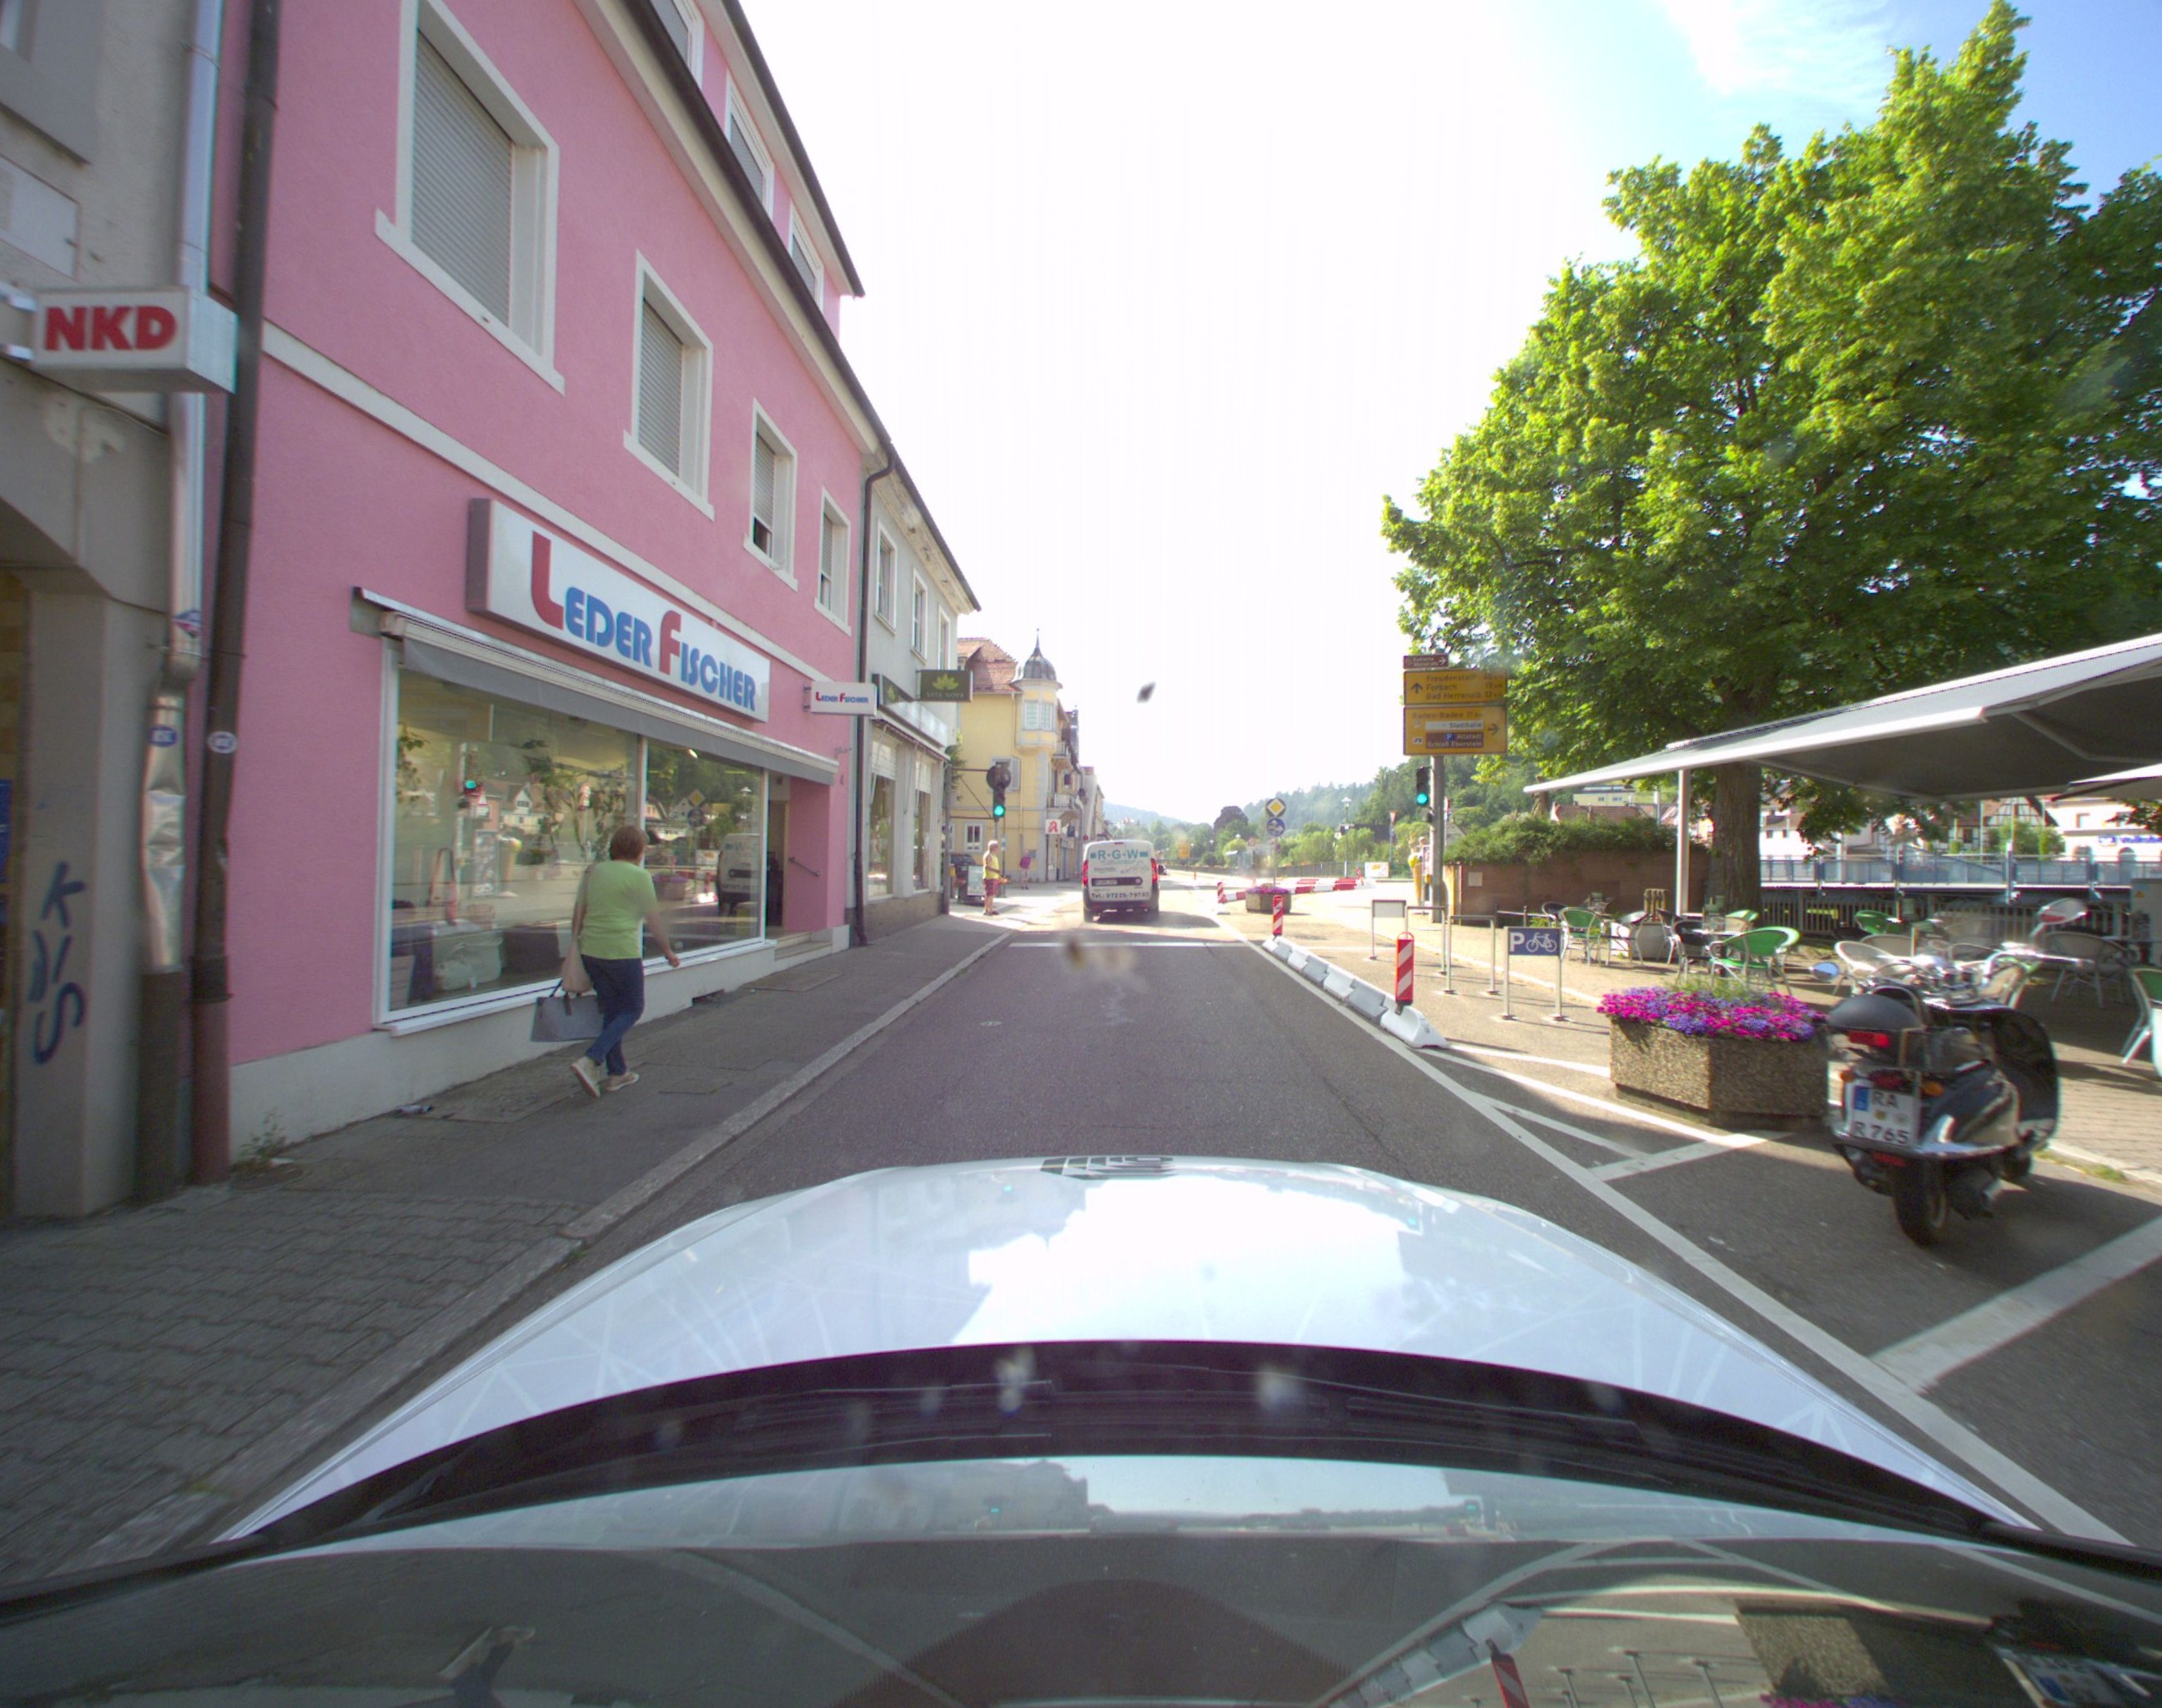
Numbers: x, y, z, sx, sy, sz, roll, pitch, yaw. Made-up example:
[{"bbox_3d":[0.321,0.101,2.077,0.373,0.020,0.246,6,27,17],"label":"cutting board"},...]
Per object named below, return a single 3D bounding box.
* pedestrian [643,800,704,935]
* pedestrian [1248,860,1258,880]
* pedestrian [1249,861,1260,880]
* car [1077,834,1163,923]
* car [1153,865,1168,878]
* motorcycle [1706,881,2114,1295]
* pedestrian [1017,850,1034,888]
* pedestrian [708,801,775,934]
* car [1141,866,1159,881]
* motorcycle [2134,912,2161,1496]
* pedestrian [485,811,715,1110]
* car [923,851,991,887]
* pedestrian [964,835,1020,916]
[{"bbox_3d":[-5.336,0.174,10.687,0.575,1.722,0.568,0,0,-12],"label":"pedestrian"},{"bbox_3d":[15.362,1.427,72.769,0.785,1.706,0.492,1,-1,5],"label":"pedestrian"},{"bbox_3d":[15.383,1.447,72.114,0.862,1.706,0.778,1,-1,5],"label":"pedestrian"},{"bbox_3d":[1.072,0.555,20.269,1.835,1.906,4.321,-3,0,5],"label":"car"},{"bbox_3d":[11.115,2.446,114.470,1.985,1.662,4.004,1,-1,4],"label":"car"},{"bbox_3d":[3.776,0.827,3.682,1.907,1.358,0.908,0,0,-32],"label":"motorcycle"},{"bbox_3d":[-2.562,0.695,37.495,0.675,1.714,0.618,1,0,5],"label":"pedestrian"},{"bbox_3d":[-4.581,0.177,10.976,0.718,1.722,0.667,0,-1,-34],"label":"pedestrian"},{"bbox_3d":[8.258,2.309,97.842,1.985,1.662,4.004,1,-1,4],"label":"car"},{"bbox_3d":[3.608,0.862,2.193,2.100,1.270,0.919,0,0,-37],"label":"motorcycle"},{"bbox_3d":[-2.894,0.594,4.999,0.782,1.632,0.860,3,0,5],"label":"pedestrian"},{"bbox_3d":[-6.067,0.702,39.519,1.929,1.543,3.921,2,1,-30],"label":"car"},{"bbox_3d":[-2.146,0.512,19.752,1.013,1.815,0.909,5,-1,5],"label":"pedestrian"}]
